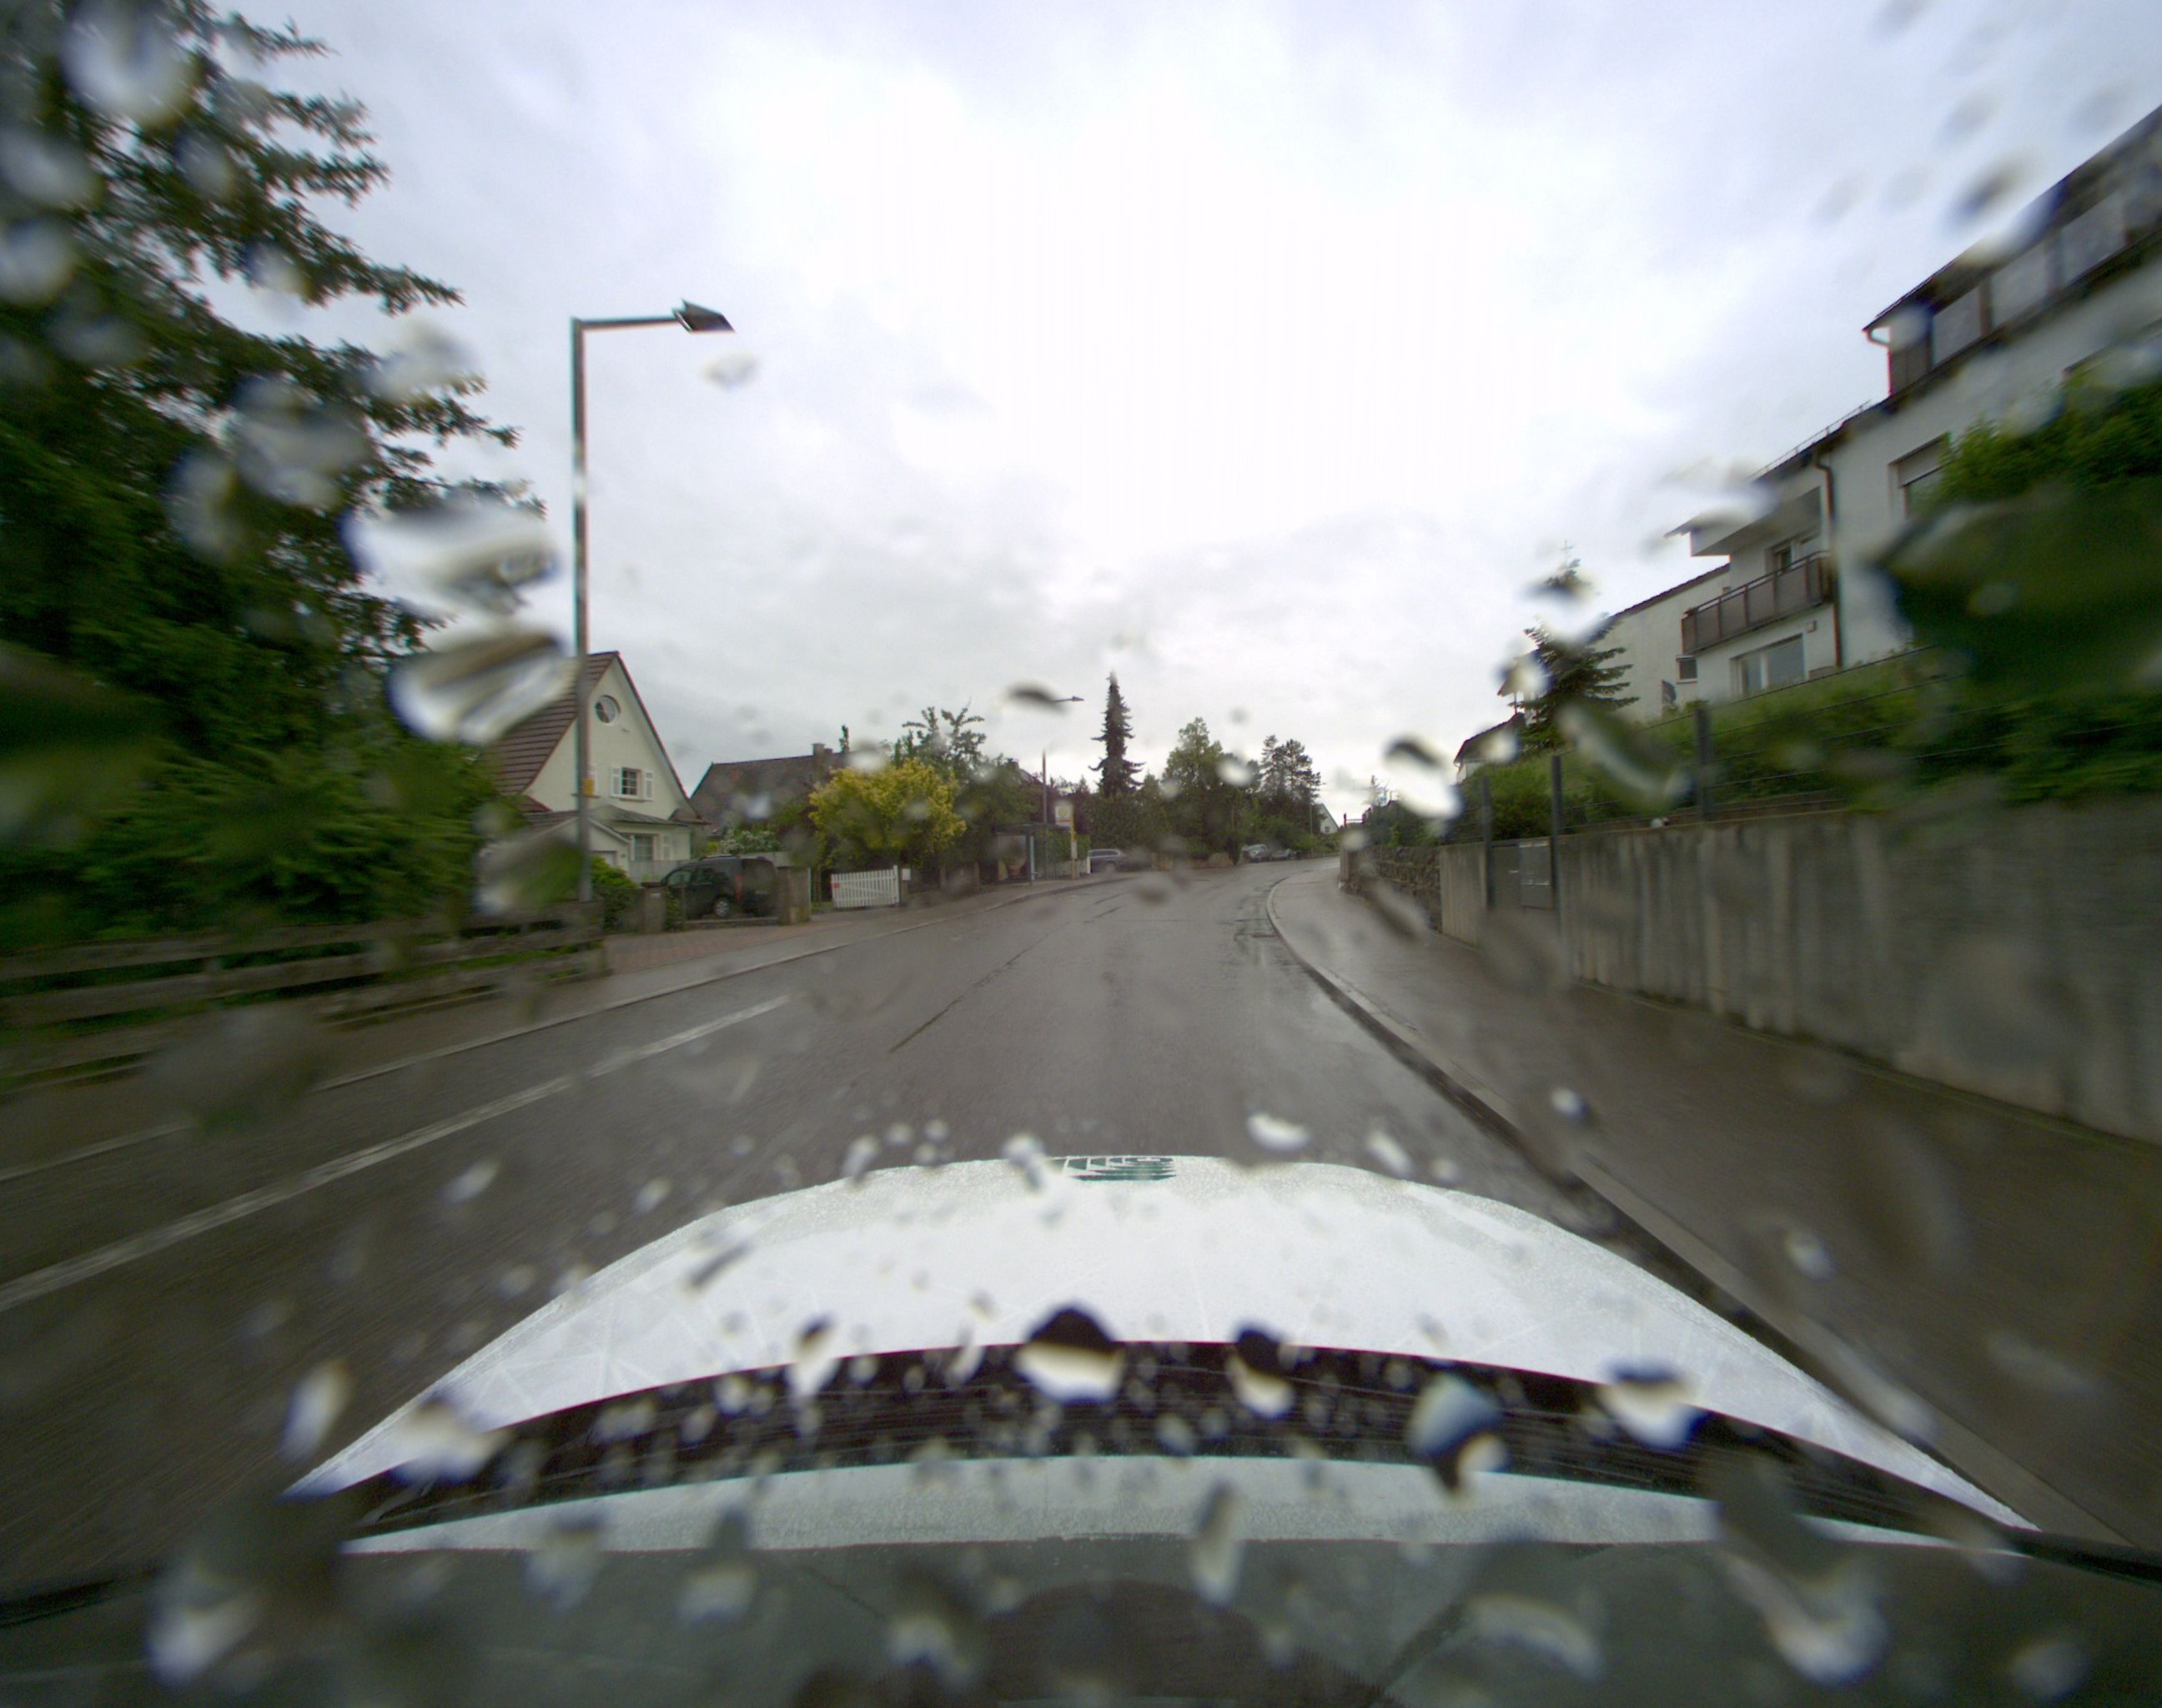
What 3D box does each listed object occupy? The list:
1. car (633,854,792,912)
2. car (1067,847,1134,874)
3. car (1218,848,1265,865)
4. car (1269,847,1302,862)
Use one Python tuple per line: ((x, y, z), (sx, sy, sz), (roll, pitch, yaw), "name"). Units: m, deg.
((-10.915, 0.838, 24.188), (3.955, 1.620, 2.009), (-1, 0, 18), "car")
((1.210, 0.386, 49.987), (3.818, 1.572, 1.792), (-1, 0, 12), "car")
((15.538, 0.246, 78.860), (3.948, 1.460, 1.914), (-1, 0, 33), "car")
((21.566, 0.043, 85.873), (1.974, 1.460, 4.026), (-1, 0, 35), "car")
